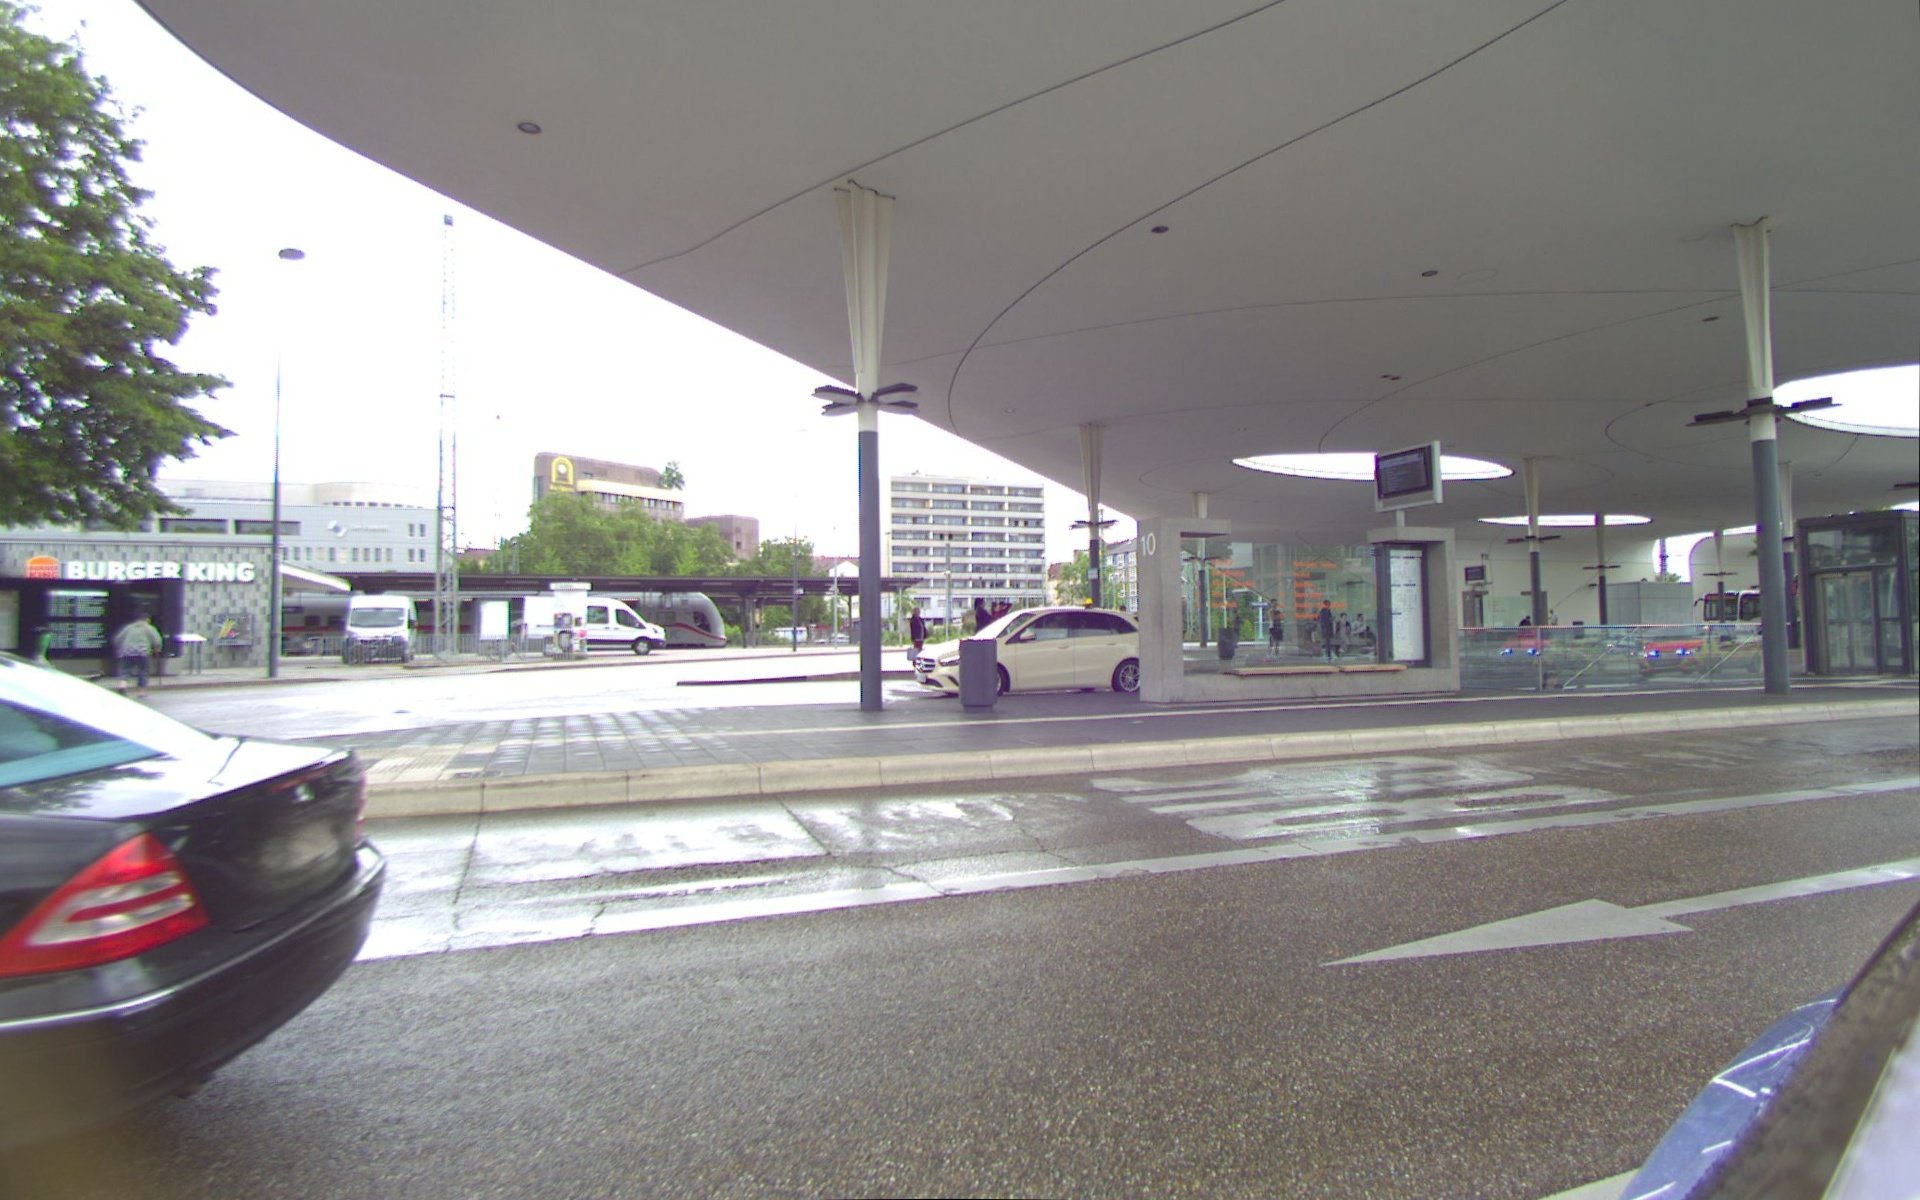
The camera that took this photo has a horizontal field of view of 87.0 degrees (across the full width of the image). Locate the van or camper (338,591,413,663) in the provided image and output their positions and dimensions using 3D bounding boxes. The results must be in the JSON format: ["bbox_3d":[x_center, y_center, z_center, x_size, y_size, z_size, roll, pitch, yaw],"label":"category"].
[{"bbox_3d":[-21.744,0.898,37.826,2.121,2.464,5.872,0,0,-27],"label":"van or camper"}]

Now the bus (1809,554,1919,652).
[{"bbox_3d":[35.288,0.021,35.660,11.671,3.121,2.884,-1,0,-21],"label":"bus"}]

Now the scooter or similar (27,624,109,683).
[{"bbox_3d":[-19.329,1.152,21.944,0.331,1.197,1.287,0,0,36],"label":"scooter or similar"}]

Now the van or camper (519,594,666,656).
[{"bbox_3d":[-15.529,0.998,42.961,5.741,2.464,2.004,-1,0,-21],"label":"van or camper"}]

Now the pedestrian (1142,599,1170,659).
[{"bbox_3d":[5.057,0.740,26.103,0.524,1.533,0.480,0,-1,-17],"label":"pedestrian"}]

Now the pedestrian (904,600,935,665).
[{"bbox_3d":[-1.041,0.814,25.600,0.726,1.615,0.643,0,0,-7],"label":"pedestrian"}]

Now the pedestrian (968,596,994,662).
[{"bbox_3d":[0.493,0.684,23.961,0.469,1.533,0.536,0,-1,-16],"label":"pedestrian"}]

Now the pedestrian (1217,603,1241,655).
[{"bbox_3d":[7.958,0.856,29.937,0.514,1.533,0.480,0,-1,-17],"label":"pedestrian"}]

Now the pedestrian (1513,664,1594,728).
[{"bbox_3d":[11.072,1.769,18.897,0.938,1.068,0.885,0,0,-18],"label":"pedestrian"}]

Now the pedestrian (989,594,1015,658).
[{"bbox_3d":[1.023,0.624,24.684,0.469,1.533,0.536,0,-1,-16],"label":"pedestrian"}]

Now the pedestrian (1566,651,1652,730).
[{"bbox_3d":[11.465,1.577,17.900,0.938,1.291,0.885,0,0,-18],"label":"pedestrian"}]

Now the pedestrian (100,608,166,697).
[{"bbox_3d":[-14.979,0.926,18.329,0.634,1.549,0.828,0,0,39],"label":"pedestrian"}]

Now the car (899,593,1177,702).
[{"bbox_3d":[1.361,0.745,17.833,4.446,1.702,2.004,-1,0,-21],"label":"car"}]

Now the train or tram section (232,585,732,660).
[{"bbox_3d":[-29.797,1.214,66.242,28.693,4.234,4.615,-1,0,-21],"label":"train or tram section"}]

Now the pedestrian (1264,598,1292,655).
[{"bbox_3d":[8.647,0.704,27.527,0.524,1.533,0.480,0,-1,-17],"label":"pedestrian"}]

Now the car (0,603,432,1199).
[{"bbox_3d":[-3.963,0.779,2.558,4.359,1.484,1.703,0,0,-11],"label":"car"}]

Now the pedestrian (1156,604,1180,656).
[{"bbox_3d":[6.144,0.880,29.889,0.514,1.533,0.480,0,-1,-17],"label":"pedestrian"}]

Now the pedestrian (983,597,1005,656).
[{"bbox_3d":[0.906,0.703,26.670,0.472,1.533,0.533,-1,-1,14],"label":"pedestrian"}]
